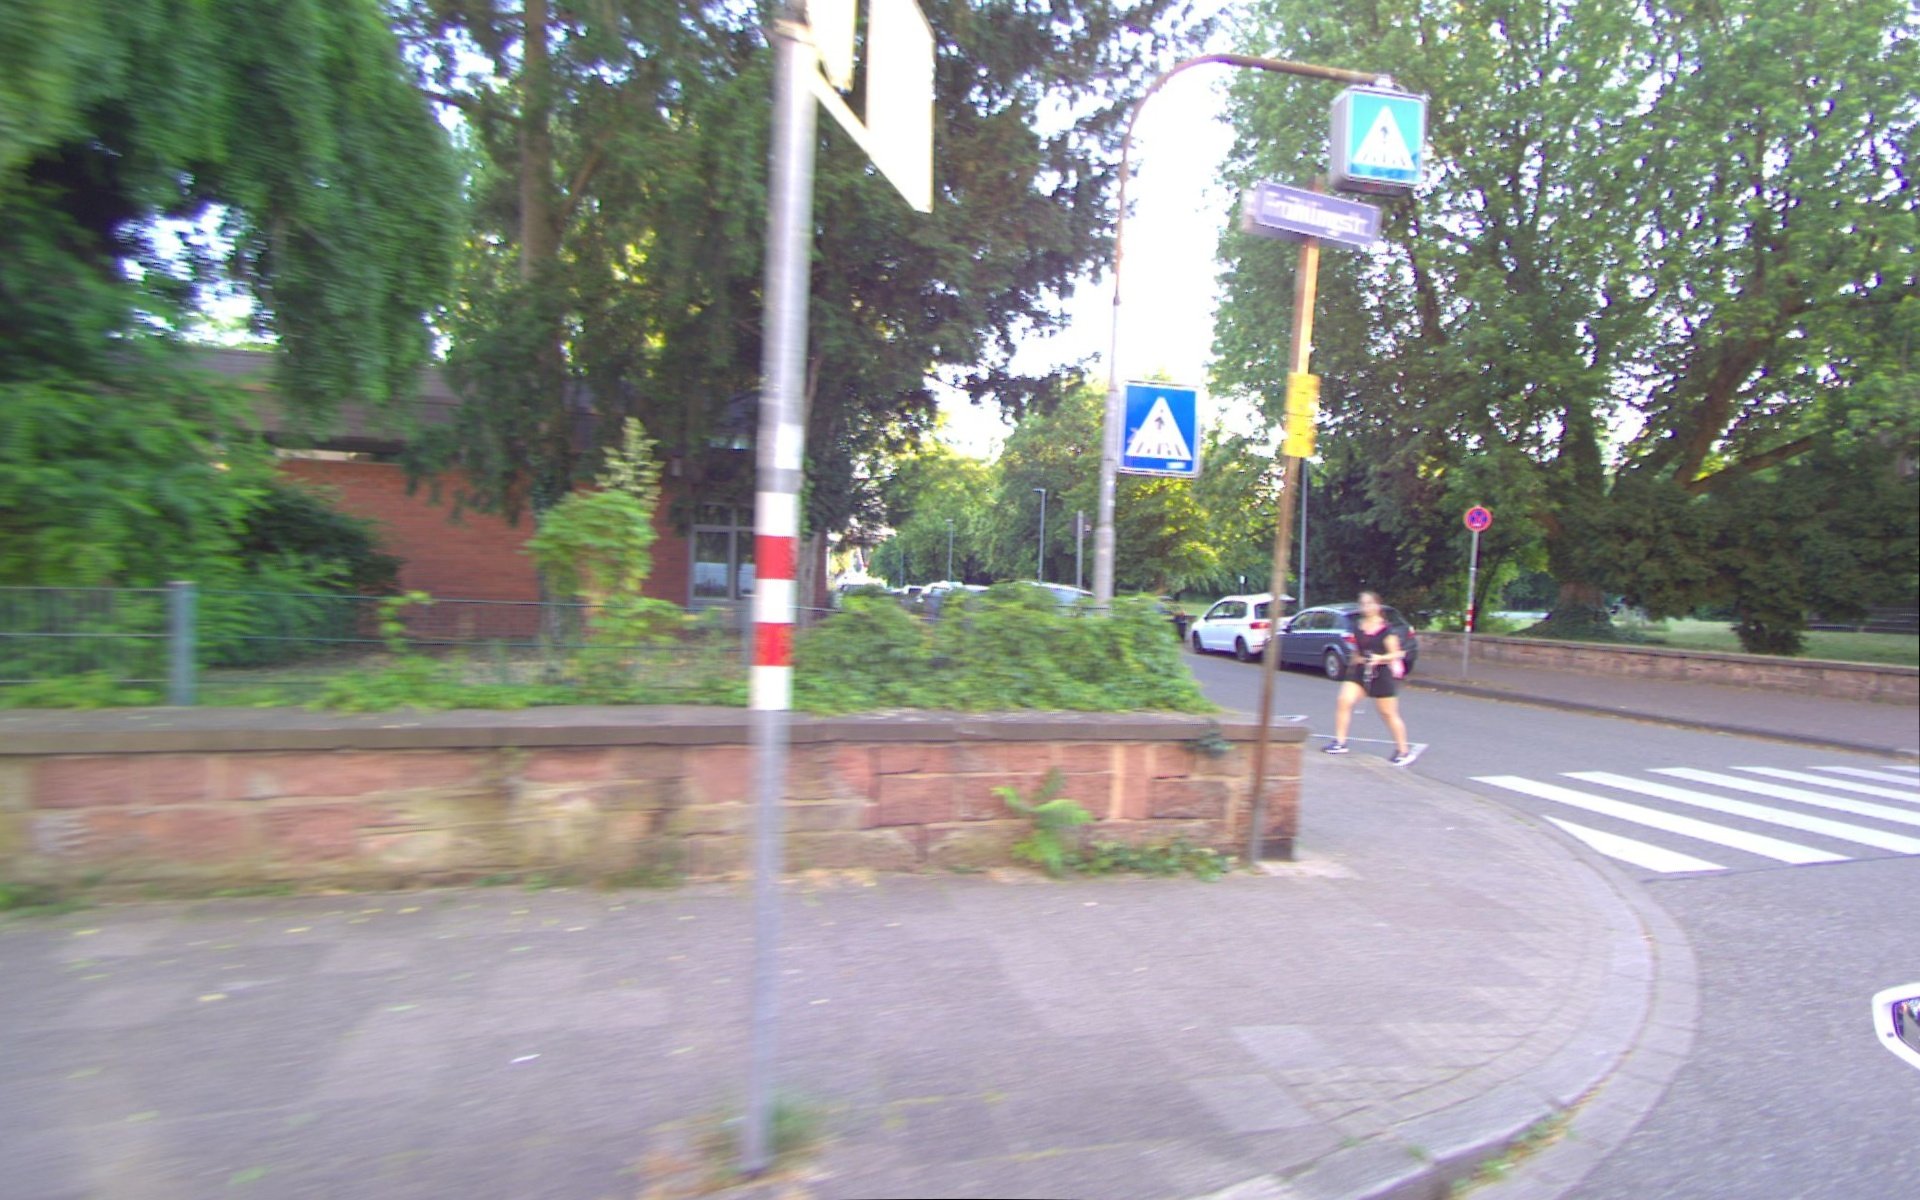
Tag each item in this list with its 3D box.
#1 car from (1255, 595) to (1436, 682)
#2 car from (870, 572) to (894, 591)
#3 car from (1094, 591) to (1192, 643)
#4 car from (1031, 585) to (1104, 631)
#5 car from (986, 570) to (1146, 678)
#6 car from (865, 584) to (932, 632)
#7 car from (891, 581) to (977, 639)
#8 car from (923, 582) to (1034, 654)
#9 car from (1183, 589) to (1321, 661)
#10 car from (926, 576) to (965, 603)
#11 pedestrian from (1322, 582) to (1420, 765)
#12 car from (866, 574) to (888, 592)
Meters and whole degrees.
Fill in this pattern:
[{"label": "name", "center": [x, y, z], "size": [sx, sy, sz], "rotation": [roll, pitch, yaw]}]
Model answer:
[{"label": "car", "center": [8.073, 0.736, 21.435], "size": [1.791, 1.512, 3.857], "rotation": [-5, 1, -10]}, {"label": "car", "center": [-7.575, -1.784, 97.565], "size": [1.791, 1.625, 3.873], "rotation": [-5, 1, -11]}, {"label": "car", "center": [5.914, 0.502, 32.908], "size": [1.791, 1.459, 3.873], "rotation": [-5, 1, -11]}, {"label": "car", "center": [4.353, 0.298, 41.182], "size": [1.791, 1.625, 3.873], "rotation": [-5, 1, -11]}, {"label": "car", "center": [1.979, 0.431, 20.106], "size": [1.792, 1.822, 4.231], "rotation": [5, -1, -13]}, {"label": "car", "center": [-2.397, 0.281, 38.102], "size": [1.792, 1.565, 4.231], "rotation": [5, -1, -13]}, {"label": "car", "center": [-0.899, 0.300, 31.544], "size": [1.792, 1.565, 4.231], "rotation": [5, -1, -13]}, {"label": "car", "center": [0.374, 0.429, 25.776], "size": [1.792, 1.565, 4.231], "rotation": [5, -1, -13]}, {"label": "car", "center": [7.485, 0.591, 26.186], "size": [1.791, 1.584, 3.873], "rotation": [-5, 1, -11]}, {"label": "car", "center": [-0.993, -0.683, 67.060], "size": [1.791, 1.625, 3.873], "rotation": [-5, 1, -11]}, {"label": "pedestrian", "center": [3.982, 0.674, 9.722], "size": [0.638, 1.671, 0.670], "rotation": [4, 4, 39]}, {"label": "car", "center": [-8.508, -1.718, 102.674], "size": [1.791, 1.625, 3.873], "rotation": [-5, 1, -11]}]
